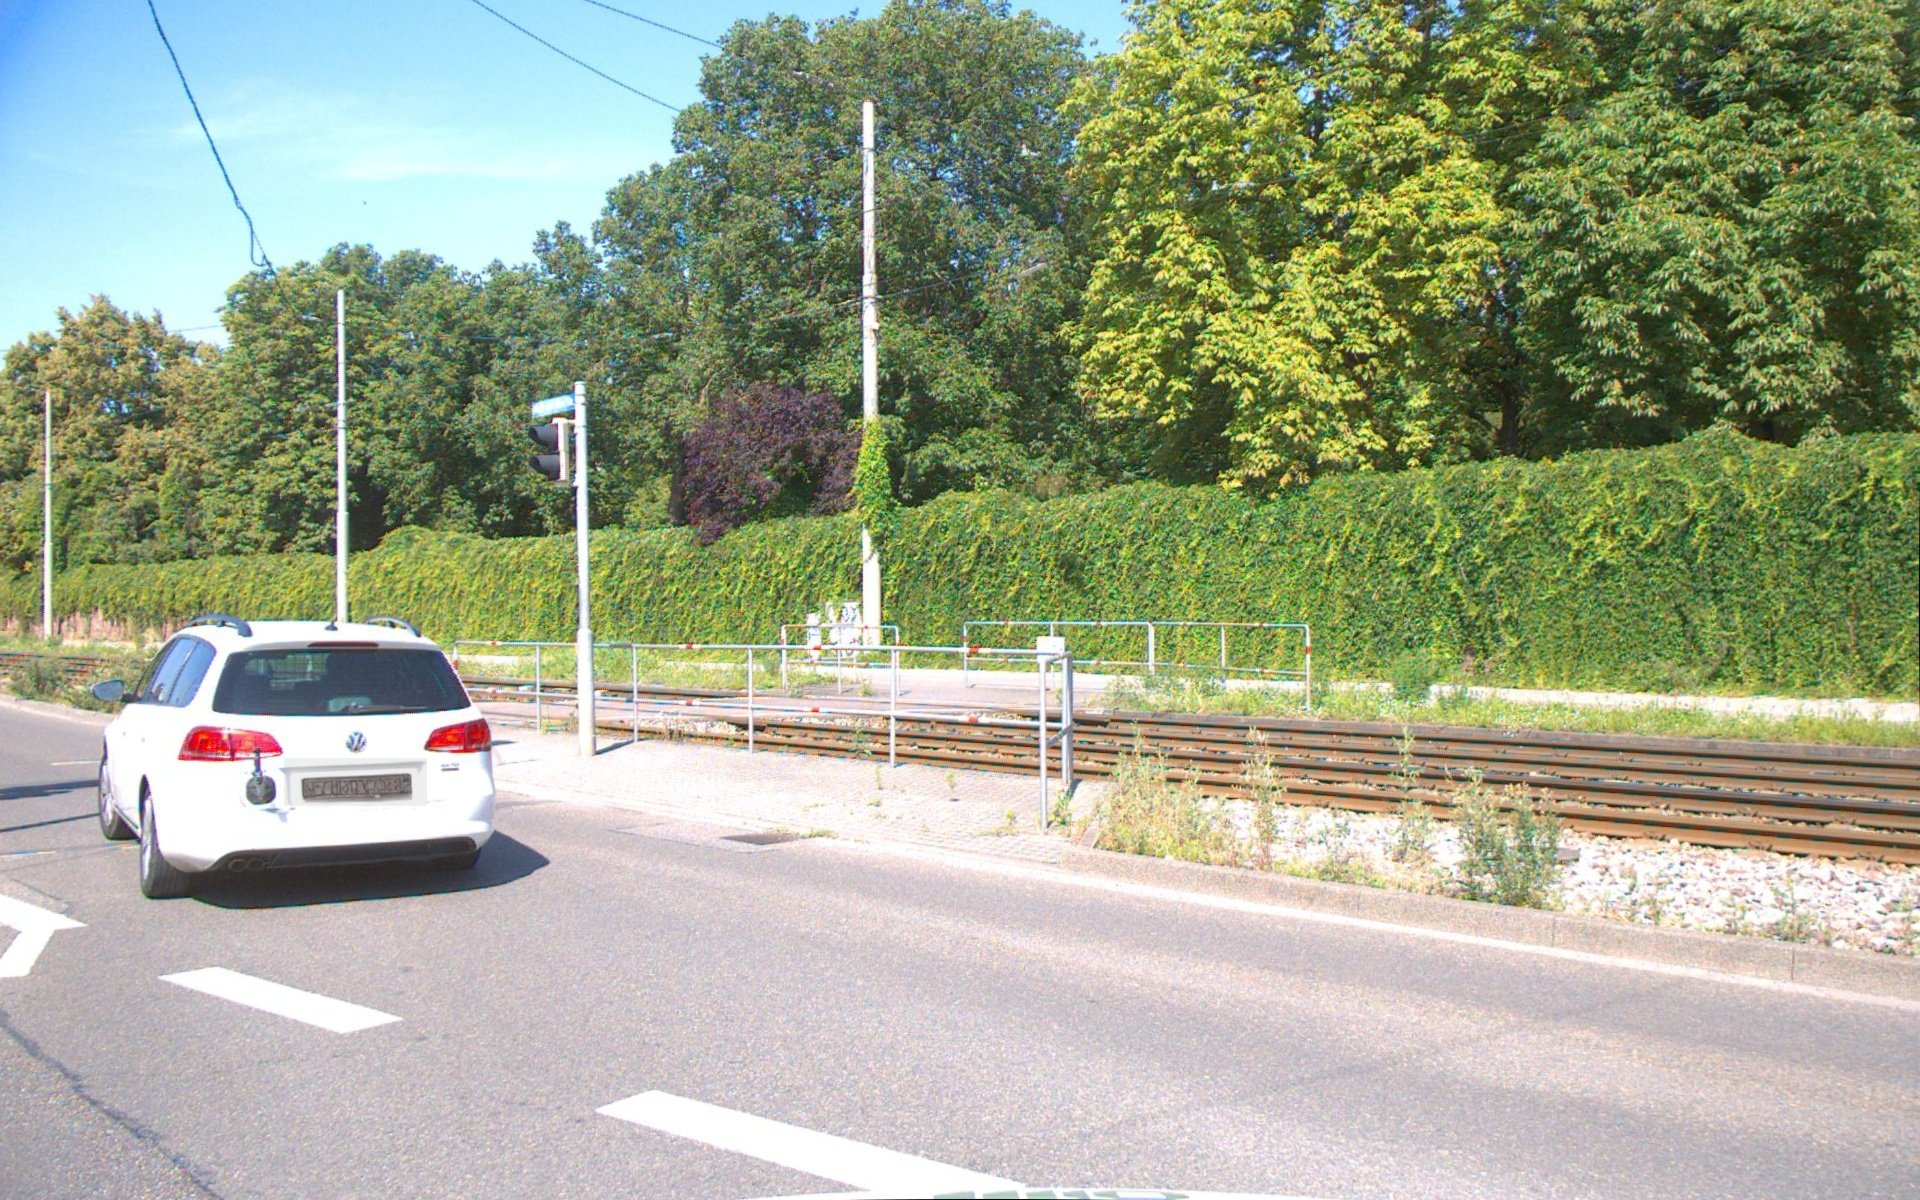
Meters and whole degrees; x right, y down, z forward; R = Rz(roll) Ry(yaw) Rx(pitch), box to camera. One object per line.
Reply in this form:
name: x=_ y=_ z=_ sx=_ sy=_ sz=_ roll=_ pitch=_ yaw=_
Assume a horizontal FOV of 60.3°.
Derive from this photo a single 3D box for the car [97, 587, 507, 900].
car: x=-4.217 y=0.716 z=10.152 sx=1.674 sy=1.477 sz=4.411 roll=0 pitch=-1 yaw=-31
